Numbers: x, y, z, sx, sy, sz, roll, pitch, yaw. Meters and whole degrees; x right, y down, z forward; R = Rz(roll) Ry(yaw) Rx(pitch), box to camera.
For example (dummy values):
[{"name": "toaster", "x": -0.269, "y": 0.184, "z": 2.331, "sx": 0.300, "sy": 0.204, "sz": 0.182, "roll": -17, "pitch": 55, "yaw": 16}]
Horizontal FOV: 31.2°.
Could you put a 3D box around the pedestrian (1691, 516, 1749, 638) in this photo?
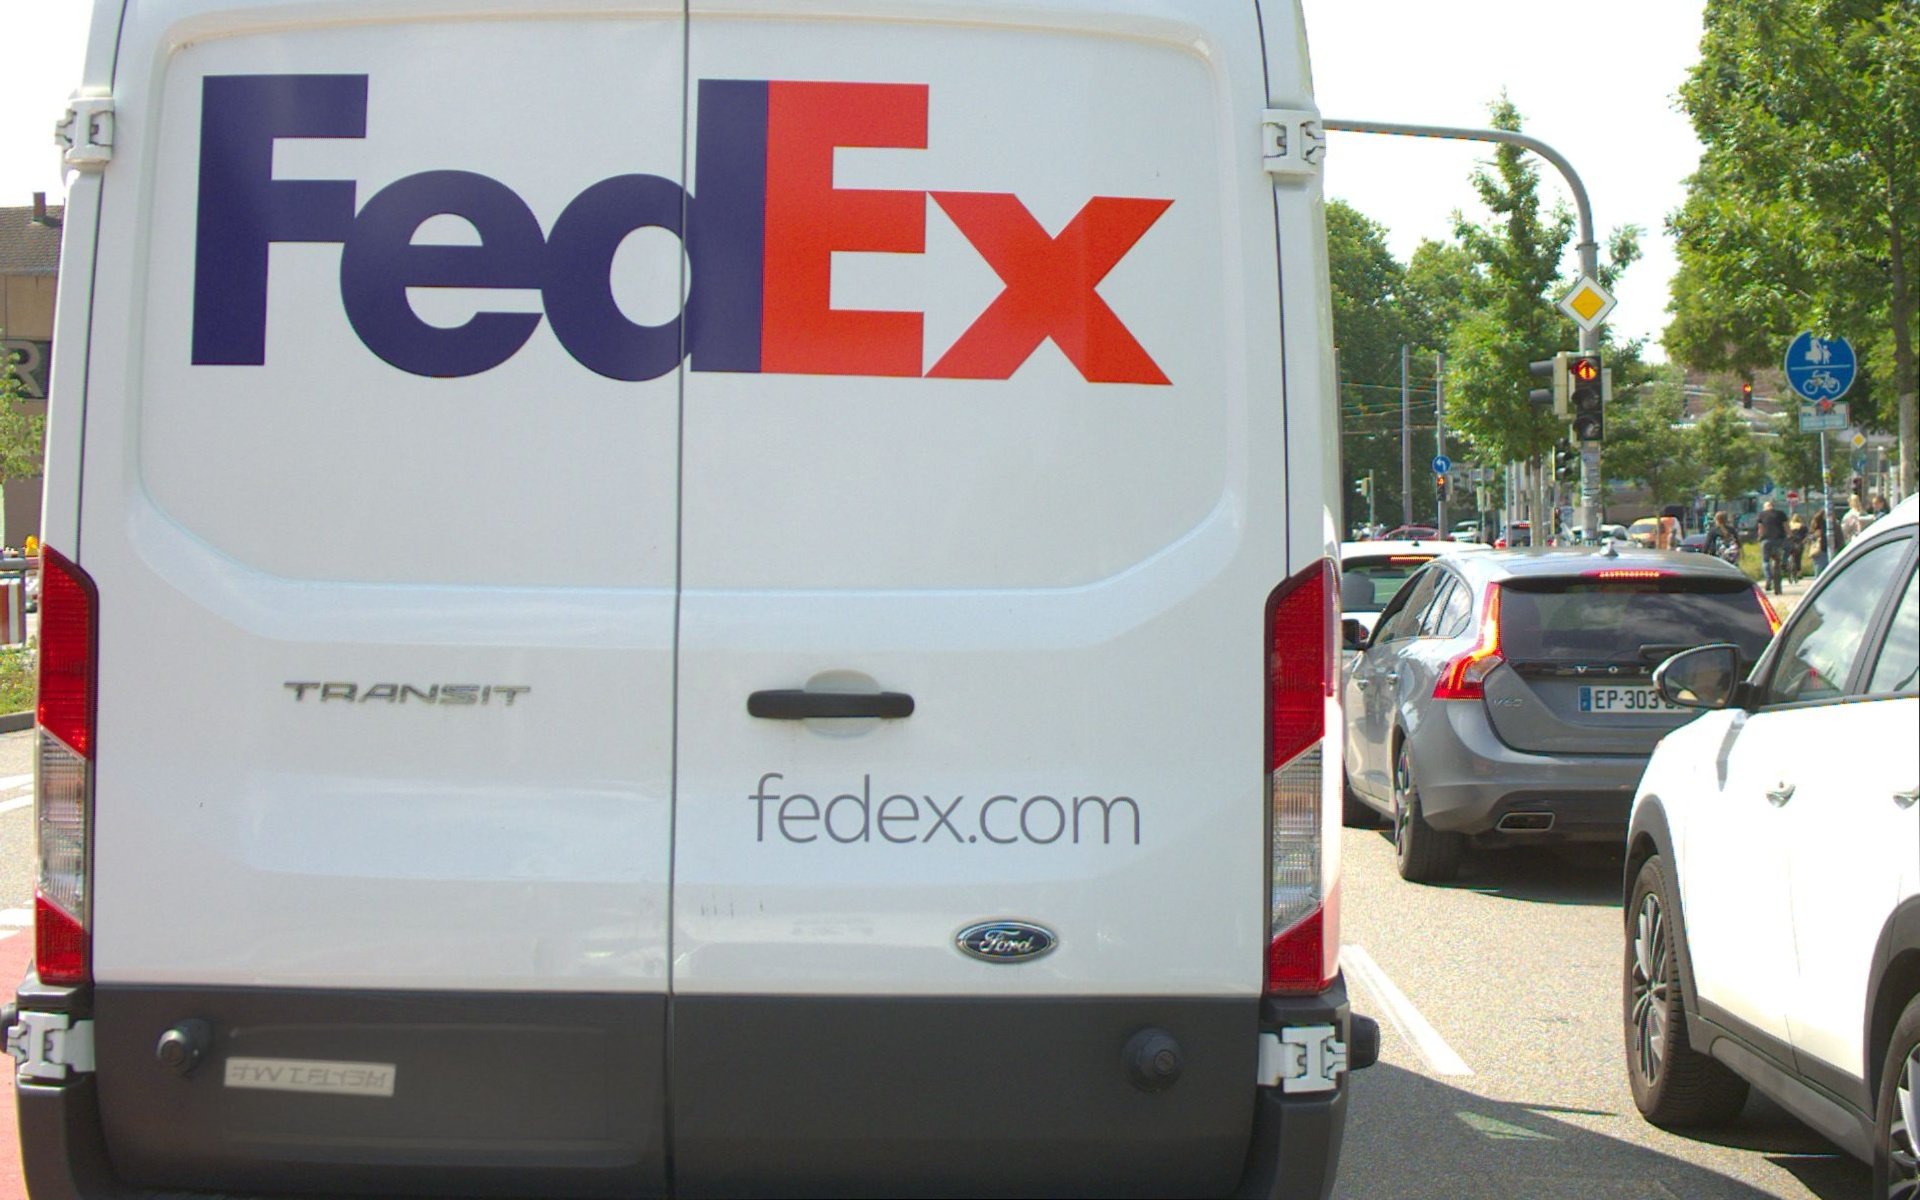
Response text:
[{"name": "pedestrian", "x": 11.537, "y": -0.354, "z": 52.179, "sx": 0.759, "sy": 1.843, "sz": 0.815, "roll": 0, "pitch": 1, "yaw": 18}]

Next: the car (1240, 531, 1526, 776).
[{"name": "car", "x": 2.708, "y": 0.291, "z": 22.599, "sx": 1.499, "sy": 1.459, "sz": 3.474, "roll": -1, "pitch": 1, "yaw": 1}]

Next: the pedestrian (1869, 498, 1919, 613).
[{"name": "pedestrian", "x": 15.335, "y": -0.734, "z": 56.016, "sx": 0.758, "sy": 1.843, "sz": 0.816, "roll": -1, "pitch": 1, "yaw": -8}]

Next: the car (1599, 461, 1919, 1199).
[{"name": "car", "x": 2.590, "y": 0.556, "z": 7.207, "sx": 1.814, "sy": 1.673, "sz": 3.974, "roll": -1, "pitch": 1, "yaw": 1}]

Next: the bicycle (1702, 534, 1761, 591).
[{"name": "bicycle", "x": 21.186, "y": -1.049, "z": 94.303, "sx": 1.426, "sy": 1.459, "sz": 4.308, "roll": 0, "pitch": 2, "yaw": 15}]

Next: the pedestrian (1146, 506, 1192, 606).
[{"name": "pedestrian", "x": 3.903, "y": -0.820, "z": 64.185, "sx": 0.758, "sy": 1.843, "sz": 0.816, "roll": -1, "pitch": 1, "yaw": -3}]

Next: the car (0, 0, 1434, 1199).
[{"name": "car", "x": -0.360, "y": 0.078, "z": 6.899, "sx": 2.072, "sy": 2.572, "sz": 4.428, "roll": -1, "pitch": 1, "yaw": 1}]

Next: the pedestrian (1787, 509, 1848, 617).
[{"name": "pedestrian", "x": 13.295, "y": -0.577, "z": 53.317, "sx": 0.759, "sy": 1.649, "sz": 0.816, "roll": -1, "pitch": 1, "yaw": 3}]

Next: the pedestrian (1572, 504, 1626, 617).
[{"name": "pedestrian", "x": 10.540, "y": -0.650, "z": 56.690, "sx": 0.759, "sy": 1.843, "sz": 0.815, "roll": 0, "pitch": 1, "yaw": 18}]

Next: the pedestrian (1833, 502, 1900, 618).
[{"name": "pedestrian", "x": 14.643, "y": -0.651, "z": 55.526, "sx": 0.758, "sy": 1.843, "sz": 0.816, "roll": -1, "pitch": 1, "yaw": -10}]

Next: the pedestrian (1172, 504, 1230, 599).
[{"name": "pedestrian", "x": 4.708, "y": -0.952, "z": 67.185, "sx": 0.759, "sy": 1.843, "sz": 0.816, "roll": -2, "pitch": 2, "yaw": -39}]

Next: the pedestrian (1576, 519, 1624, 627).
[{"name": "pedestrian", "x": 10.996, "y": -0.471, "z": 59.050, "sx": 0.759, "sy": 1.843, "sz": 0.816, "roll": 0, "pitch": 1, "yaw": 15}]

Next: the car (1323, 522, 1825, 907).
[{"name": "car", "x": 2.690, "y": 0.425, "z": 15.821, "sx": 1.691, "sy": 1.543, "sz": 3.720, "roll": -1, "pitch": 1, "yaw": 1}]

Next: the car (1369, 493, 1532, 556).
[{"name": "car", "x": 21.859, "y": -3.372, "z": 153.553, "sx": 7.063, "sy": 2.708, "sz": 2.496, "roll": 1, "pitch": 0, "yaw": 5}]

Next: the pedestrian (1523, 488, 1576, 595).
[{"name": "pedestrian", "x": 10.257, "y": -1.022, "z": 59.864, "sx": 0.813, "sy": 1.843, "sz": 0.761, "roll": 0, "pitch": 1, "yaw": 3}]
